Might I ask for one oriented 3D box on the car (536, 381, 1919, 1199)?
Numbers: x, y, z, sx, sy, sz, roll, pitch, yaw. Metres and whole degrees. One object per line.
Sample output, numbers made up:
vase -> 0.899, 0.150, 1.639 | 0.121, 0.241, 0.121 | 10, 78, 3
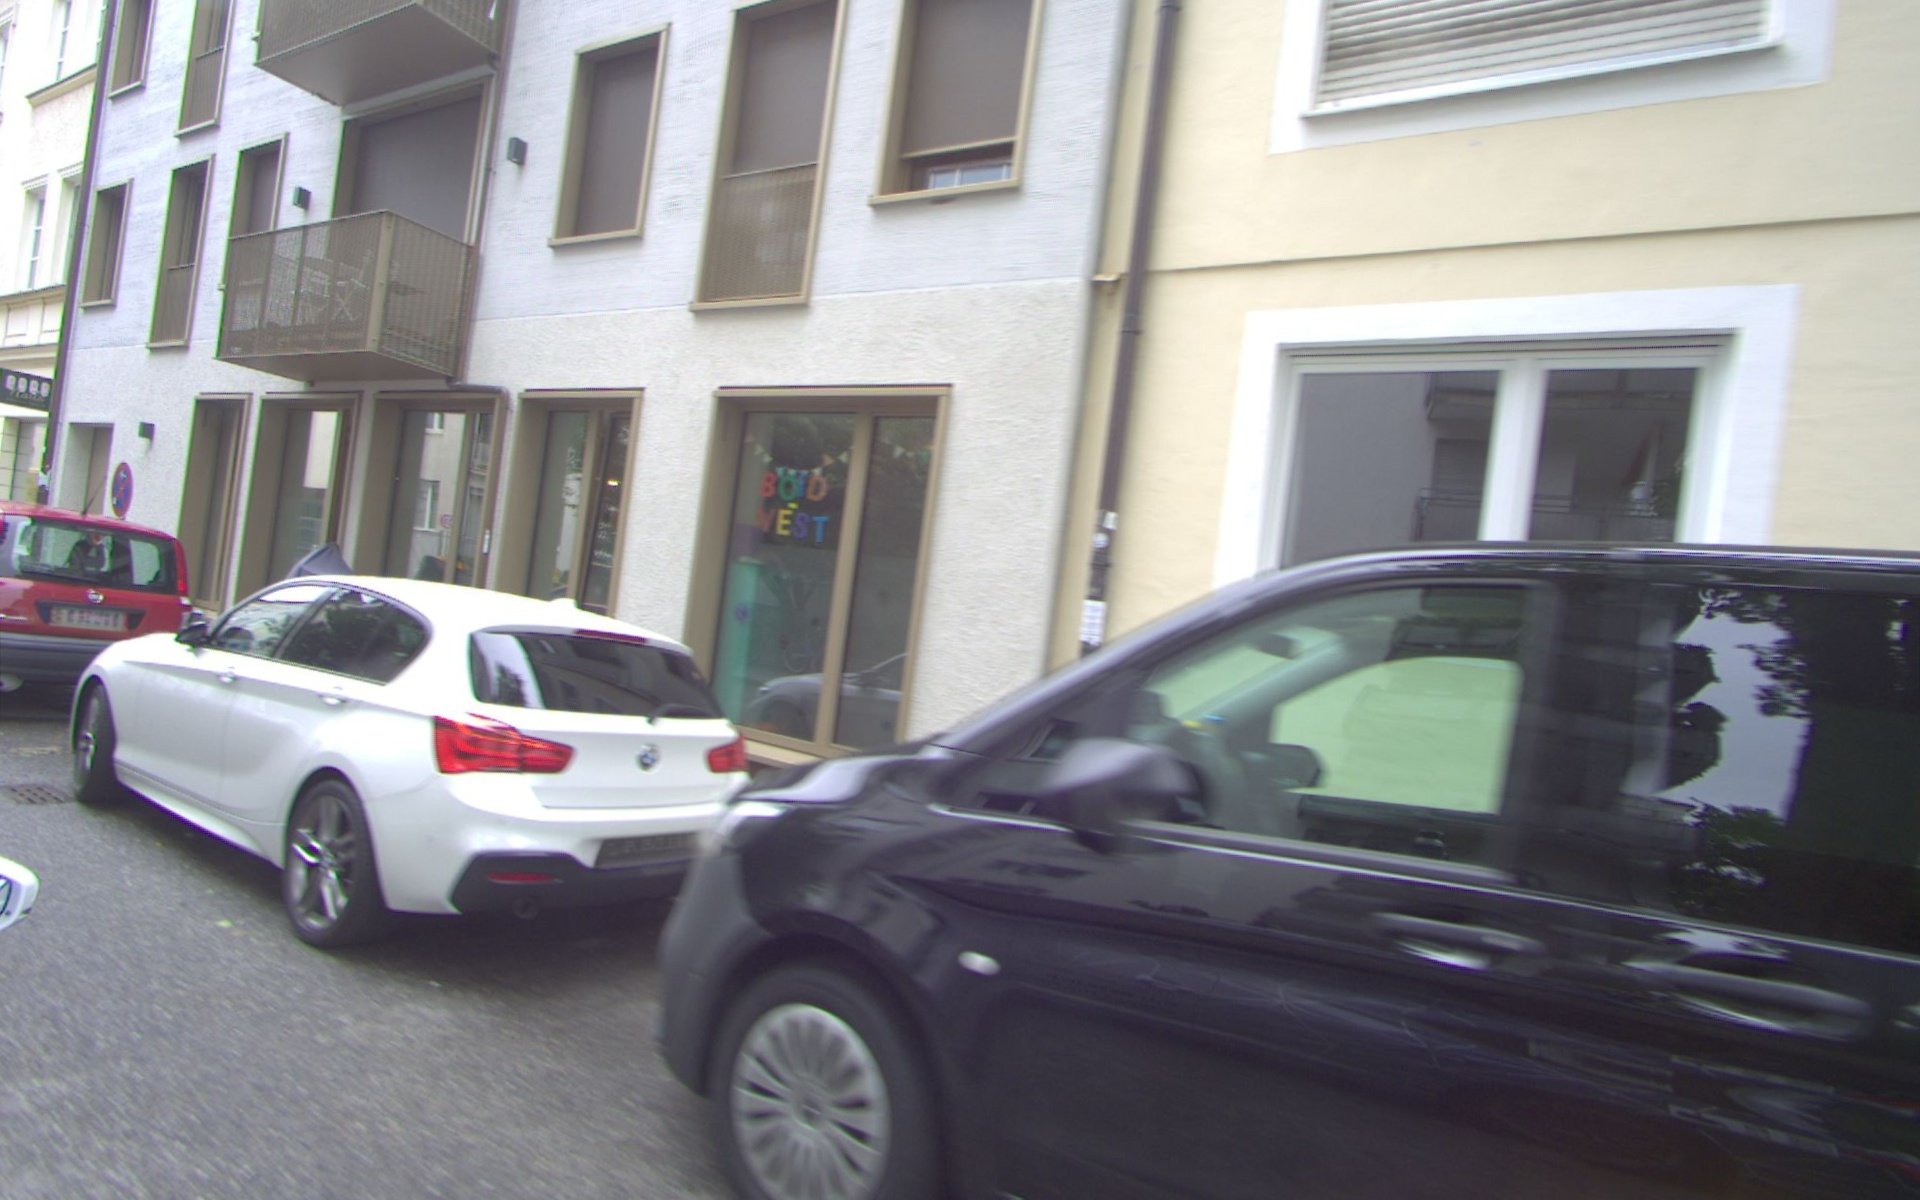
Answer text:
car -> 1.566, 0.779, 2.373 | 4.801, 1.998, 1.997 | 7, -3, 29

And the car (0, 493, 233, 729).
car -> -7.854, -0.076, 8.127 | 4.001, 1.540, 1.776 | 7, -3, 34

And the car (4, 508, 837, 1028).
car -> -2.936, 0.538, 5.149 | 4.309, 1.477, 1.772 | 7, -3, 33

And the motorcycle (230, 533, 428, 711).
motorcycle -> -6.073, 0.181, 9.652 | 1.900, 1.442, 0.805 | 7, 2, 33
